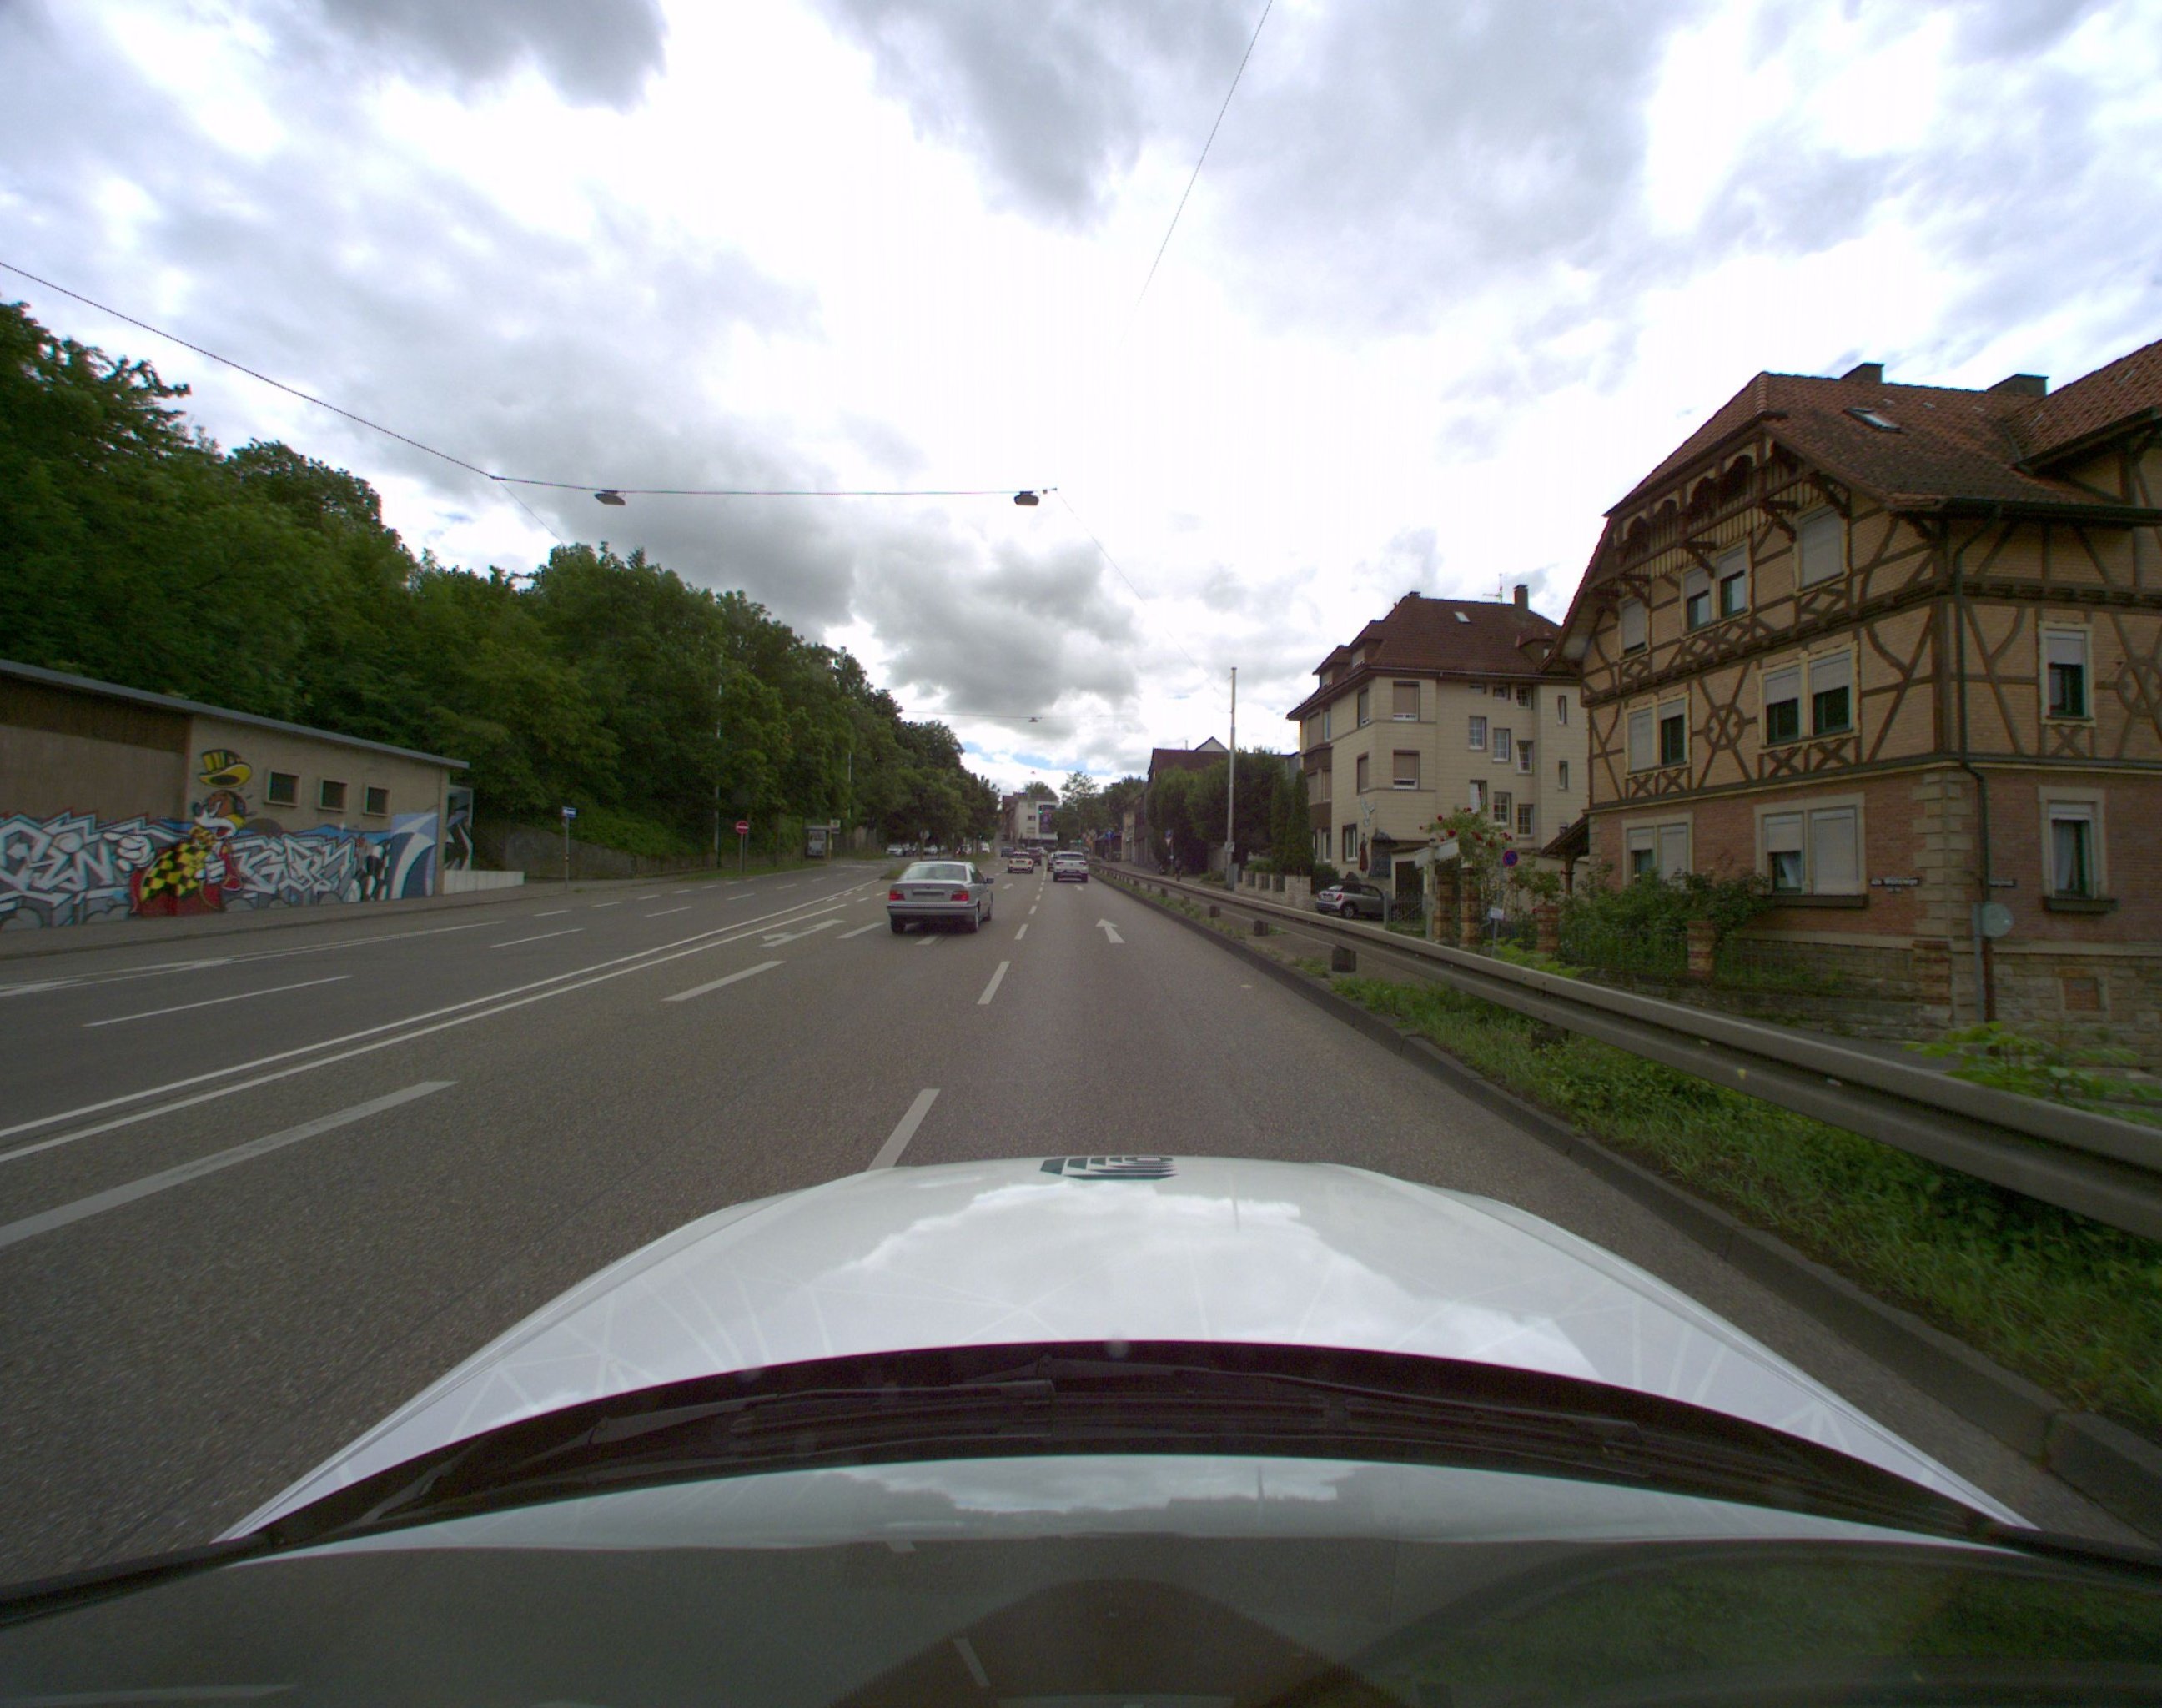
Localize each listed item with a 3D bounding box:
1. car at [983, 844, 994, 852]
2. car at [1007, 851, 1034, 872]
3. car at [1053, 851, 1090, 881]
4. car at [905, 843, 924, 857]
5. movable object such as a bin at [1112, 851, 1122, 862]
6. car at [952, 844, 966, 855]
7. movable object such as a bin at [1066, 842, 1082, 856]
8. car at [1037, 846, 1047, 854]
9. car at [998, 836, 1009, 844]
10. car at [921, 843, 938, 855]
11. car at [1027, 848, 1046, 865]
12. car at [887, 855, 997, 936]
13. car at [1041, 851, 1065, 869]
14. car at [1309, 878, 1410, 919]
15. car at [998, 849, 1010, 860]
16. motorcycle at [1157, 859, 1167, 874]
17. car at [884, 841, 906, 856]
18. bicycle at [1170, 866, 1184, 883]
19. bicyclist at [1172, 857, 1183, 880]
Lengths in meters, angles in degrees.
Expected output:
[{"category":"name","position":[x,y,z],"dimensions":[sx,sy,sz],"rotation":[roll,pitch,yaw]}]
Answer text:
[{"category":"car","position":[-17.986,-1.213,158.940],"dimensions":[1.857,1.541,4.273],"rotation":[3,1,-5]},{"category":"car","position":[-4.139,0.483,56.131],"dimensions":[1.719,1.376,3.452],"rotation":[-1,0,-3]},{"category":"car","position":[-0.529,0.618,43.011],"dimensions":[1.793,1.519,3.453],"rotation":[-1,0,-3]},{"category":"car","position":[-22.099,-0.583,108.279],"dimensions":[1.857,1.670,4.273],"rotation":[3,1,-5]},{"category":"movable object such as a bin","position":[4.934,0.307,110.815],"dimensions":[1.193,1.408,0.710],"rotation":[3,1,-4]},{"category":"car","position":[-19.627,-0.694,131.388],"dimensions":[1.856,1.670,4.274],"rotation":[3,1,-4]},{"category":"movable object such as a bin","position":[-0.977,-0.724,113.427],"dimensions":[1.893,1.870,1.523],"rotation":[3,1,-12]},{"category":"car","position":[-6.953,-0.641,144.715],"dimensions":[1.719,1.376,3.452],"rotation":[-1,0,-3]},{"category":"car","position":[-20.519,-3.726,216.073],"dimensions":[2.504,2.013,5.177],"rotation":[3,1,-2]},{"category":"car","position":[-22.369,-0.711,120.362],"dimensions":[1.857,1.593,4.273],"rotation":[3,1,-5]},{"category":"car","position":[-4.333,0.259,79.068],"dimensions":[1.720,1.640,3.450],"rotation":[-1,0,-5]},{"category":"car","position":[-2.737,0.754,16.950],"dimensions":[1.630,1.382,4.616],"rotation":[0,1,-2]},{"category":"car","position":[-2.220,0.469,63.401],"dimensions":[1.719,1.376,3.451],"rotation":[-1,0,-4]},{"category":"car","position":[11.430,1.830,33.483],"dimensions":[3.613,1.434,1.694],"rotation":[3,1,-19]},{"category":"car","position":[-11.788,0.084,124.318],"dimensions":[1.720,1.583,3.450],"rotation":[-1,0,-5]},{"category":"motorcycle","position":[6.751,1.041,67.992],"dimensions":[0.607,1.162,2.039],"rotation":[0,1,-2]},{"category":"car","position":[-22.341,-0.662,98.020],"dimensions":[1.857,1.670,4.273],"rotation":[3,1,-5]},{"category":"bicycle","position":[6.603,1.389,55.938],"dimensions":[0.565,1.063,2.002],"rotation":[-2,1,-5]},{"category":"bicyclist","position":[6.594,0.964,55.812],"dimensions":[0.565,1.525,0.957],"rotation":[-2,1,-5]}]
